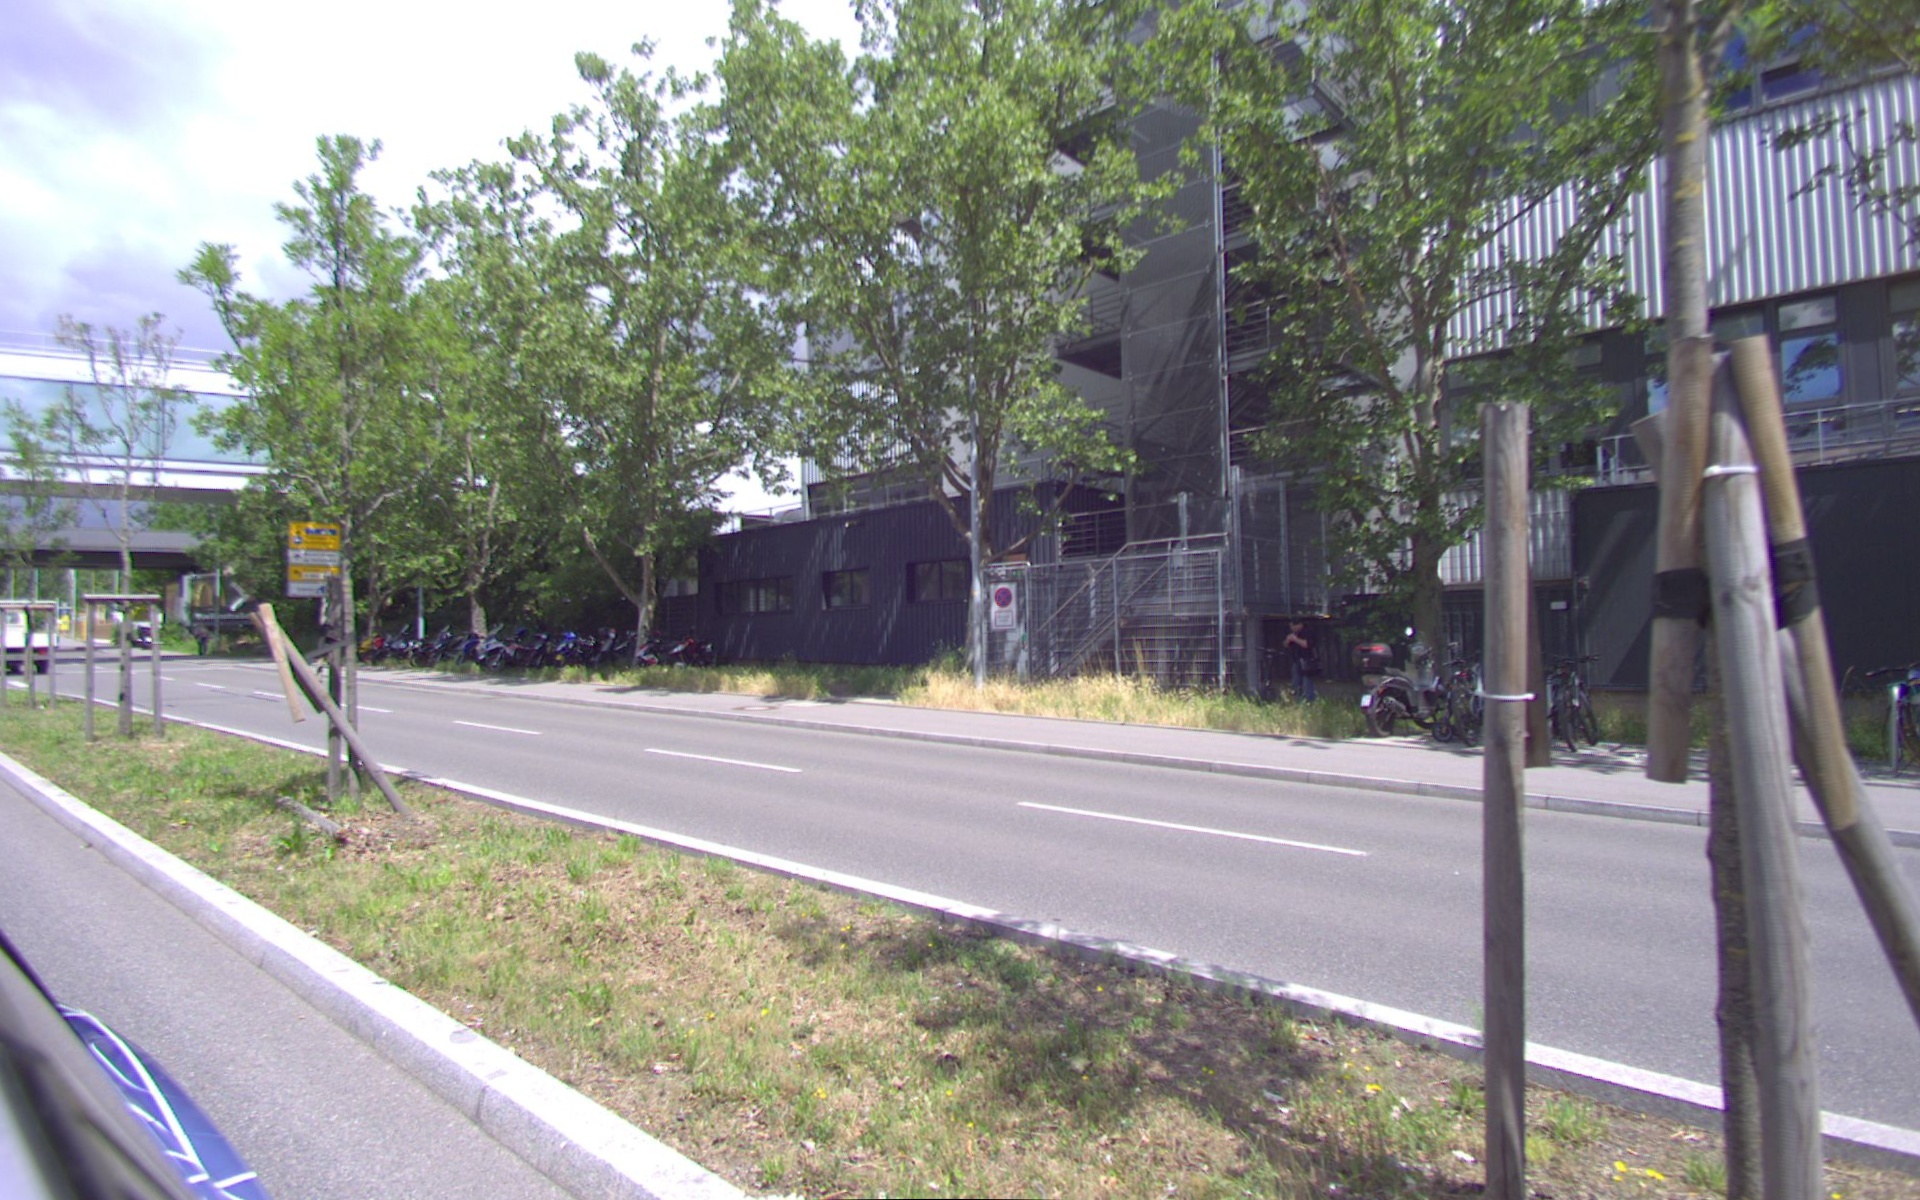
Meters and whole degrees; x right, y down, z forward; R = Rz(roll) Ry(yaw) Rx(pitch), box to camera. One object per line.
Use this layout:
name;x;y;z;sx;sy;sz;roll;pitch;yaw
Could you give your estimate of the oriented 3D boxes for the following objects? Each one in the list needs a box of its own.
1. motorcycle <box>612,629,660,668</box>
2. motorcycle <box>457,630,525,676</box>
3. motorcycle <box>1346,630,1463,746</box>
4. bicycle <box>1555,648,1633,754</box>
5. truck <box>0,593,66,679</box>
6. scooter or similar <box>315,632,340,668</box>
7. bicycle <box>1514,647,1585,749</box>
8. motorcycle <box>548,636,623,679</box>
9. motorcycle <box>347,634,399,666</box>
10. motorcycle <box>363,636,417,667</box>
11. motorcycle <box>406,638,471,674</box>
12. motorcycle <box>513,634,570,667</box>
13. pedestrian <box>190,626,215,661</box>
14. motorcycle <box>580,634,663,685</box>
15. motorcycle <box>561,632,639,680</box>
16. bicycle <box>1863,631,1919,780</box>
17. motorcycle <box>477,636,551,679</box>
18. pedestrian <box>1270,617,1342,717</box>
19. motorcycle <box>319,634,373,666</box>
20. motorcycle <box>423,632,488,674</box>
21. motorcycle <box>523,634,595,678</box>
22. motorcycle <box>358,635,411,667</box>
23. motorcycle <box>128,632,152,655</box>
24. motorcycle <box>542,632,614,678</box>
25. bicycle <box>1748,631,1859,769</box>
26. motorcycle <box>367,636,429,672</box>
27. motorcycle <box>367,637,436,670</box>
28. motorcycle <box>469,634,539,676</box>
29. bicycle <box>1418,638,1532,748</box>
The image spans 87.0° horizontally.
motorcycle;-10.585;1.583;33.018;0.645;1.219;1.984;-2;-1;-44
motorcycle;-15.209;1.712;32.806;1.905;1.354;0.867;-2;-1;-28
motorcycle;5.717;1.067;12.939;0.806;1.319;2.112;-2;-2;39
bicycle;7.455;1.129;11.866;0.497;1.070;2.060;-2;-2;39
truck;-33.023;1.241;34.748;6.451;2.772;2.454;-2;-2;39
scooter or similar;-23.266;1.832;37.202;1.479;1.245;0.350;-1;0;41
bicycle;7.138;1.139;12.217;0.422;1.083;1.905;-2;-2;39
motorcycle;-10.647;1.621;28.795;1.852;1.093;0.796;-2;-1;-34
motorcycle;-22.959;1.957;39.599;0.773;1.131;1.579;-4;-1;32
motorcycle;-21.214;1.928;37.695;0.776;1.041;1.574;-4;-1;42
motorcycle;-18.158;1.932;35.294;1.905;1.124;0.924;-3;-1;-22
motorcycle;-15.603;1.878;37.794;1.905;1.124;0.924;-3;-1;-22
pedestrian;-36.637;2.097;48.971;0.813;1.624;0.760;-2;1;40
motorcycle;-8.726;1.515;26.145;1.854;1.182;0.746;-2;-1;-40
motorcycle;-9.901;1.520;27.855;1.855;1.195;0.731;-2;-1;-41
bicycle;9.317;0.967;9.747;0.806;1.292;1.899;-2;-2;39
motorcycle;-13.518;1.728;30.688;1.854;1.188;0.816;-2;-1;-40
pedestrian;5.656;1.071;16.561;0.744;1.563;0.822;0;-2;-39
motorcycle;-24.866;2.023;41.013;1.721;1.180;0.777;-2;-1;-41
motorcycle;-17.173;1.786;34.455;1.905;1.300;0.895;-2;-1;-28
motorcycle;-11.991;1.657;30.304;0.698;1.188;1.857;-4;-1;44
motorcycle;-22.062;1.938;38.813;0.776;1.131;1.574;-4;-1;42
motorcycle;-46.394;2.439;57.226;2.256;1.207;0.633;-1;1;40
motorcycle;-11.216;1.600;29.754;0.655;1.219;1.857;-4;-1;44
bicycle;8.974;0.995;10.803;0.806;1.292;2.112;-2;-2;39
motorcycle;-20.449;1.943;36.846;0.849;1.188;1.734;-4;-1;29
motorcycle;-19.817;1.900;35.977;0.918;1.124;1.918;0;-3;29
motorcycle;-14.334;1.728;31.835;1.853;1.188;0.817;-2;-1;-34
bicycle;6.404;1.090;12.513;0.806;1.189;2.112;-2;-2;39
